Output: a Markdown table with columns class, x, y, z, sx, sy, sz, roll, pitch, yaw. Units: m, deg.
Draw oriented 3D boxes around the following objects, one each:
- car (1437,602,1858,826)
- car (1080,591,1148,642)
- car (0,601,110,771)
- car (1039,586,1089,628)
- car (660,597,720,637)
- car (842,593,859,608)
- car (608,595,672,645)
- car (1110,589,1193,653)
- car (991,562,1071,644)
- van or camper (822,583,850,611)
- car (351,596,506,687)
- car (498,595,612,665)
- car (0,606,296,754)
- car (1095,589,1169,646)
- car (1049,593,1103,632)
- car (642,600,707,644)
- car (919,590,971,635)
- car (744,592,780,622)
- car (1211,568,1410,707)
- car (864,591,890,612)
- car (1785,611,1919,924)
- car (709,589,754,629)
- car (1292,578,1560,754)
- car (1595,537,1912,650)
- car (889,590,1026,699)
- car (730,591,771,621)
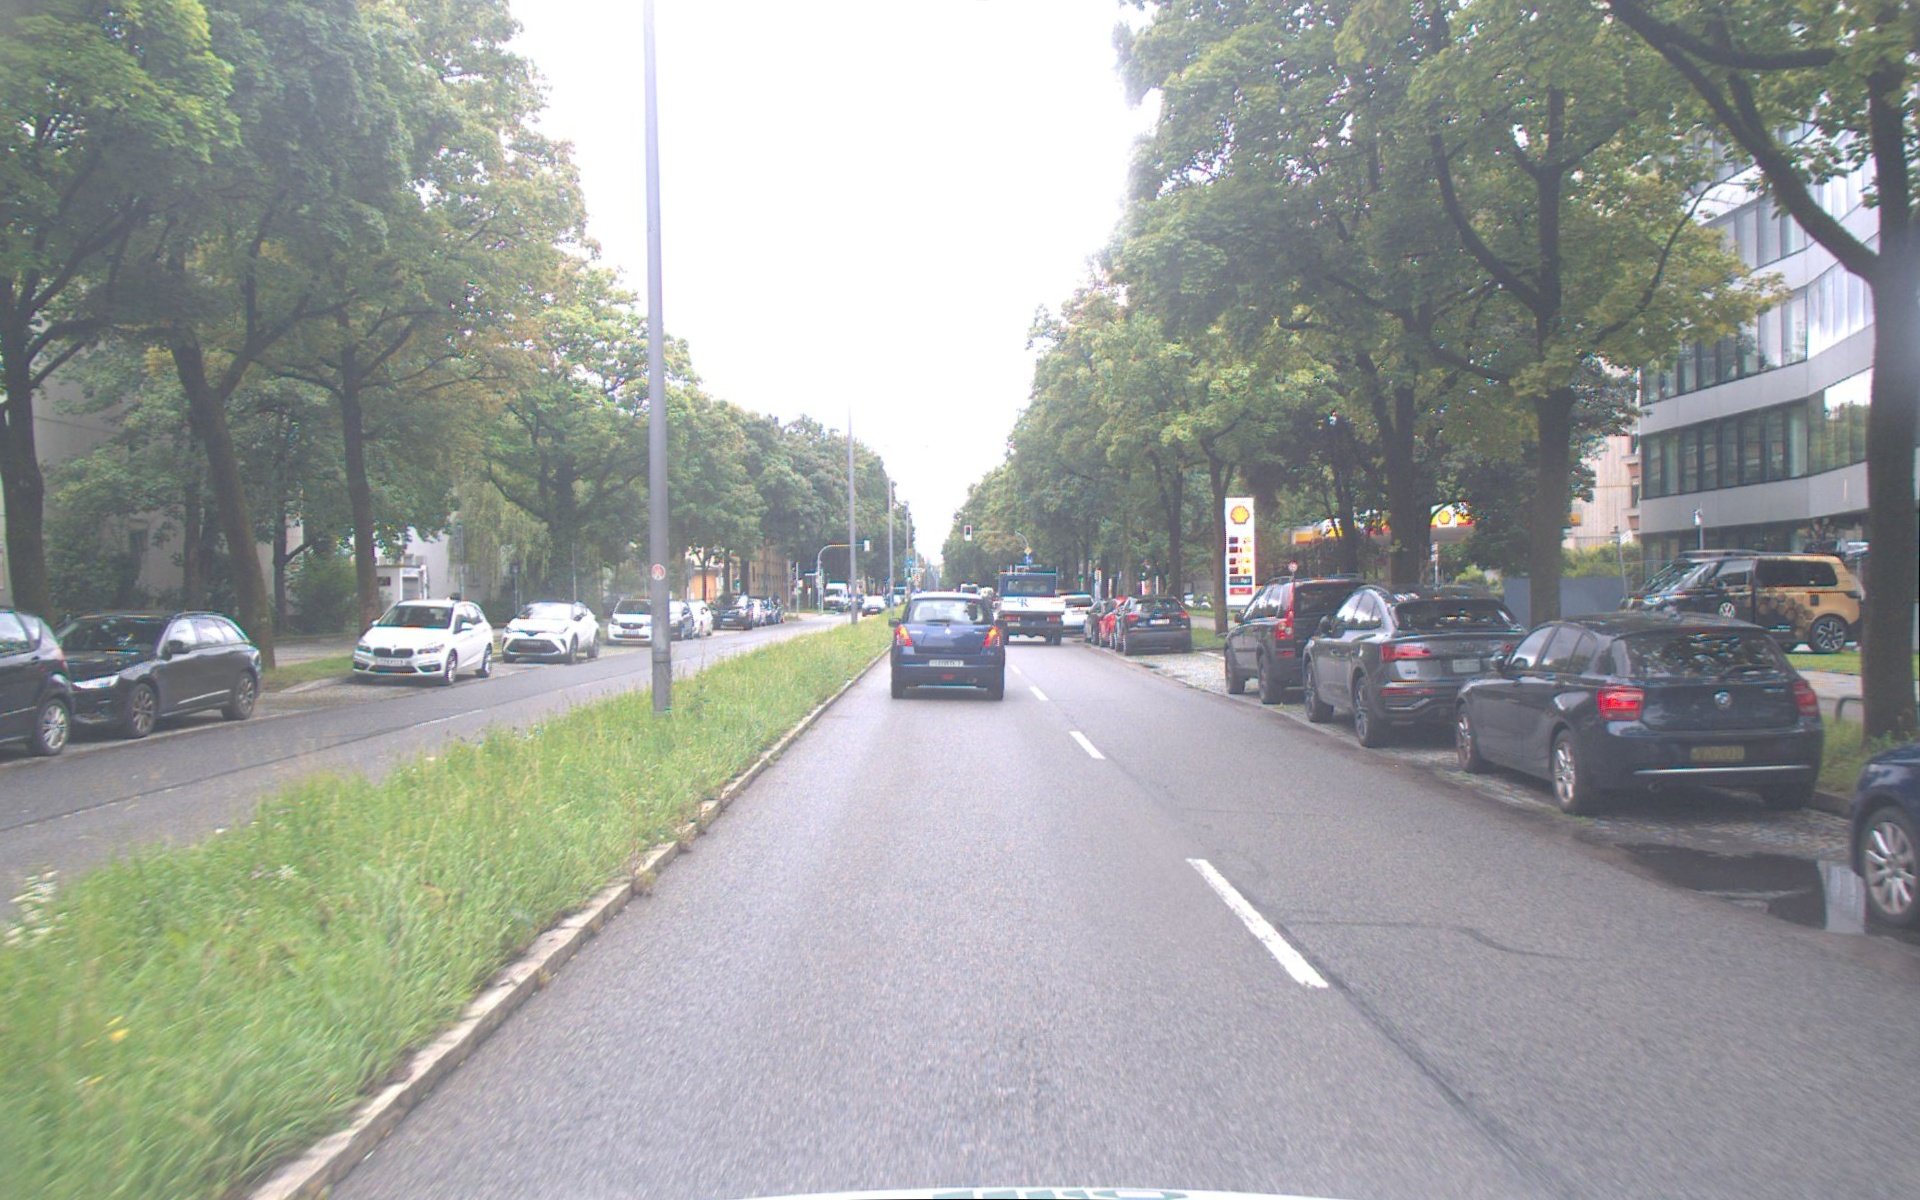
| class | x | y | z | sx | sy | sz | roll | pitch | yaw |
| --- | --- | --- | --- | --- | --- | --- | --- | --- | --- |
| car | 5.317 | 0.777 | 13.483 | 1.666 | 1.432 | 4.514 | -1 | 0 | 2 |
| car | 4.887 | 0.488 | 53.040 | 1.641 | 1.479 | 4.581 | -3 | 0 | -1 |
| car | -10.247 | 0.853 | 16.179 | 1.651 | 1.625 | 4.210 | 1 | 0 | 0 |
| car | 4.549 | 0.279 | 72.845 | 1.725 | 1.728 | 5.229 | -3 | 0 | -1 |
| car | -10.803 | 0.637 | 66.364 | 1.640 | 1.468 | 4.320 | 2 | 0 | 0 |
| car | -11.588 | 0.032 | 175.108 | 1.603 | 1.467 | 3.734 | -1 | 0 | 0 |
| car | -10.778 | 0.652 | 55.842 | 1.657 | 1.593 | 3.078 | 2 | 0 | -3 |
| car | 5.066 | 0.523 | 44.156 | 1.743 | 1.537 | 4.285 | -3 | 0 | 1 |
| car | 2.193 | 0.075 | 52.569 | 2.369 | 2.487 | 5.087 | 0 | 0 | 1 |
| van or camper | -11.589 | -0.297 | 154.709 | 2.096 | 2.519 | 6.258 | -1 | 0 | 0 |
| car | -10.477 | 0.767 | 32.935 | 1.721 | 1.622 | 4.488 | 1 | 0 | -2 |
| car | -10.431 | 0.737 | 42.911 | 1.795 | 1.637 | 4.491 | 1 | 0 | 0 |
| car | -10.287 | 0.902 | 20.932 | 1.724 | 1.540 | 4.947 | 1 | 0 | 0 |
| car | 5.007 | 0.488 | 48.617 | 1.641 | 1.527 | 4.021 | -3 | 0 | -1 |
| car | 4.679 | 0.480 | 67.284 | 1.725 | 1.479 | 4.632 | -3 | 0 | -1 |
| car | -10.545 | 0.780 | 61.295 | 1.640 | 1.501 | 4.215 | 2 | 0 | 0 |
| car | -0.549 | 0.414 | 59.252 | 1.762 | 1.525 | 3.659 | -1 | 0 | -1 |
| car | -11.028 | 0.368 | 92.309 | 1.633 | 1.589 | 4.297 | -1 | 0 | -3 |
| car | 5.138 | 0.491 | 24.915 | 1.854 | 1.831 | 4.860 | -1 | 0 | -1 |
| car | -5.991 | 0.080 | 119.587 | 1.703 | 1.465 | 4.215 | -1 | 0 | 0 |
| car | 5.370 | 0.795 | 6.992 | 1.667 | 1.446 | 4.120 | -1 | 0 | 0 |
| car | -10.995 | 0.413 | 79.783 | 1.761 | 1.794 | 5.053 | 2 | 0 | -5 |
| car | 5.117 | 0.638 | 18.868 | 1.775 | 1.705 | 4.801 | -1 | 0 | 1 |
| car | 15.895 | -0.135 | 33.336 | 5.359 | 2.120 | 2.146 | -1 | 0 | -2 |
| car | -0.110 | 0.611 | 24.965 | 1.858 | 1.525 | 3.657 | 0 | 0 | -4 |
| car | -10.960 | 0.288 | 86.791 | 1.632 | 1.470 | 4.374 | 2 | 0 | -1 |
